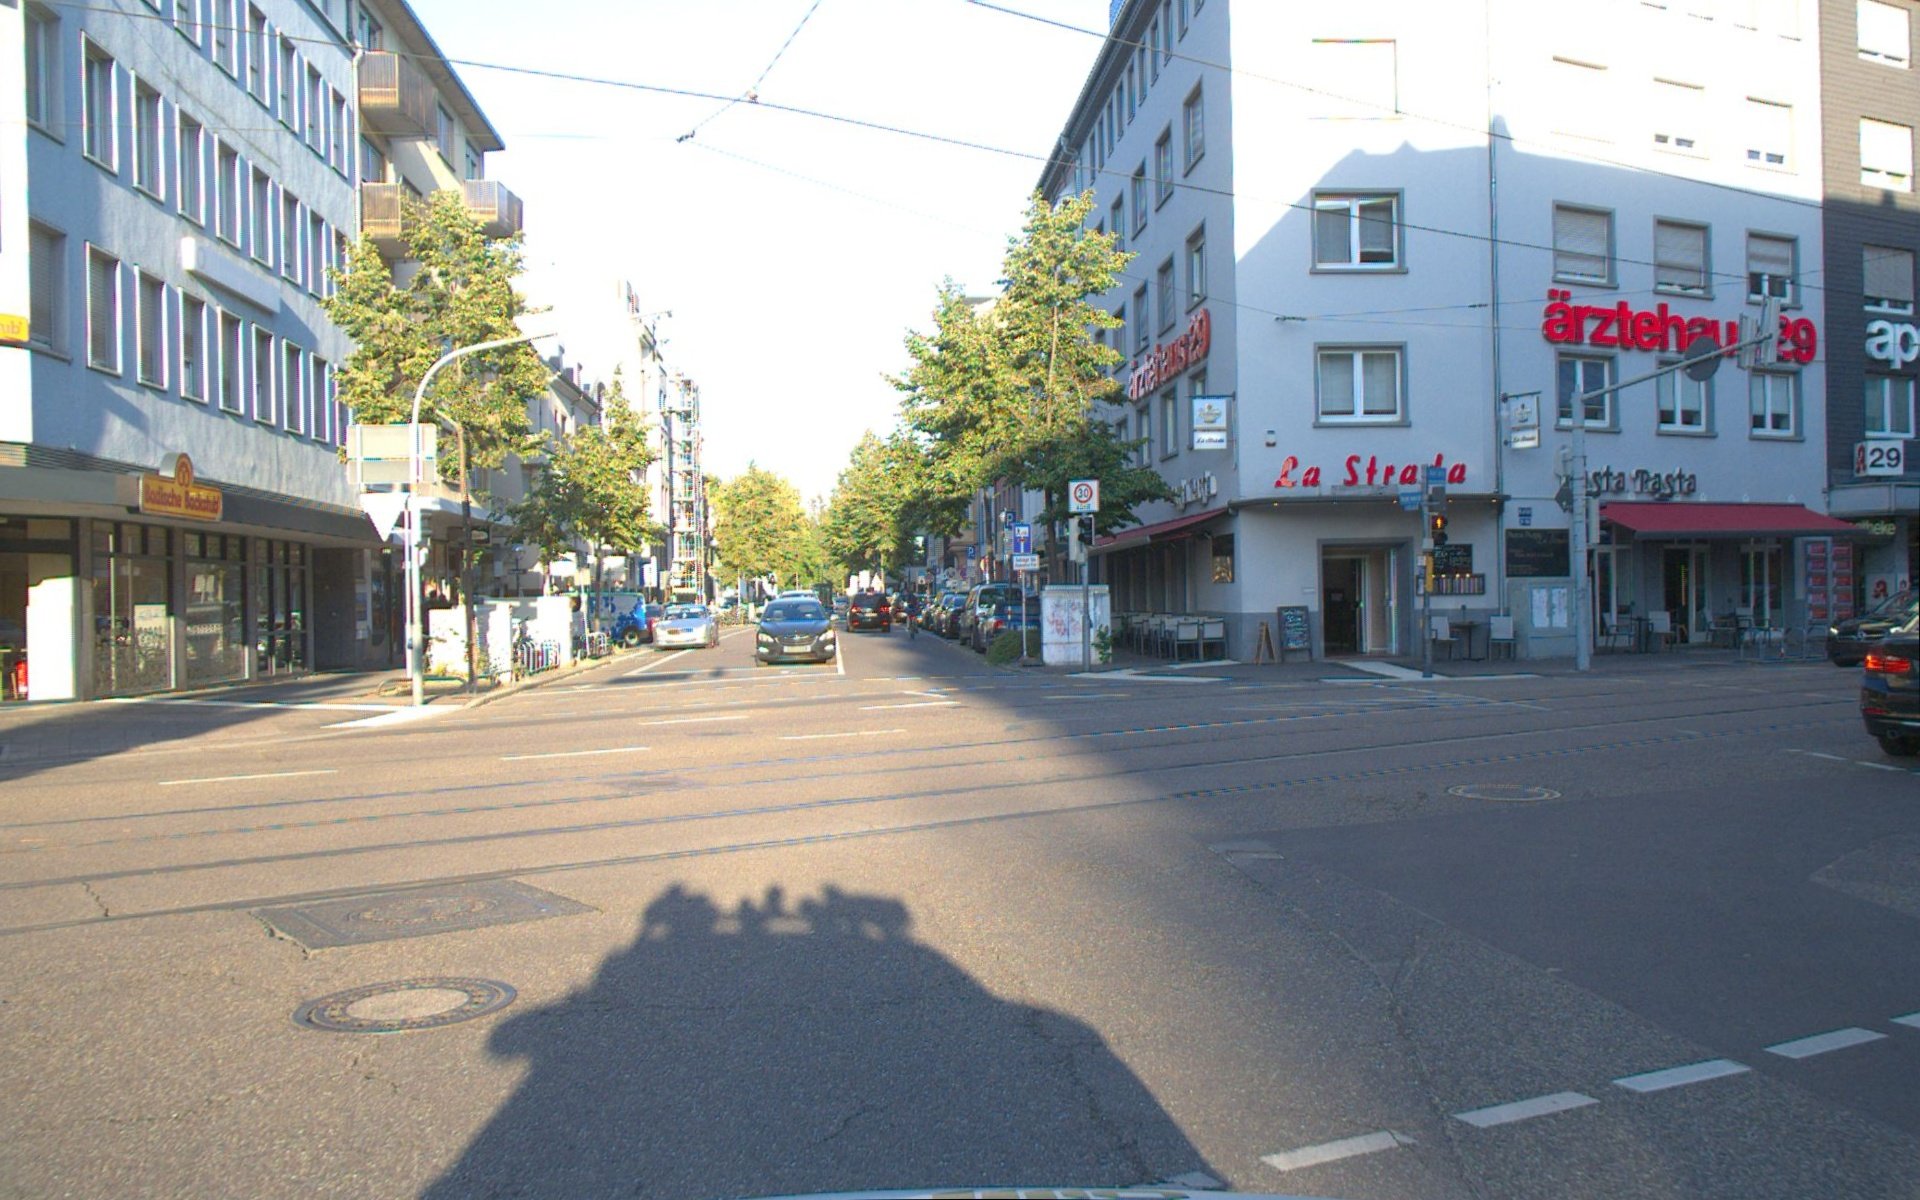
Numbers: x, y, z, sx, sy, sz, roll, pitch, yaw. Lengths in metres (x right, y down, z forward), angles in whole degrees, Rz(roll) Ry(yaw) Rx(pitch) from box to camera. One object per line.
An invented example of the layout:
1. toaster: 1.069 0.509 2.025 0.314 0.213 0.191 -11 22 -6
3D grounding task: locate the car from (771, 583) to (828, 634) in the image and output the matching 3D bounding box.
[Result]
1. car: -5.718 0.315 58.867 1.903 1.673 4.732 -2 -1 -6

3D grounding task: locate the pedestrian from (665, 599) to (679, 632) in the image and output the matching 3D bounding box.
1. pedestrian: -15.548 0.855 89.197 0.704 1.771 0.736 0 -1 -13

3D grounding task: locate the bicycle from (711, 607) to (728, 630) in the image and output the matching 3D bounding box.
1. bicycle: -14.796 1.154 101.714 0.767 1.397 3.132 0 -1 -13

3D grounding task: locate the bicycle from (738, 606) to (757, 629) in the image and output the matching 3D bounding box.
1. bicycle: -13.119 1.104 102.135 0.830 1.374 3.176 -1 -1 -13

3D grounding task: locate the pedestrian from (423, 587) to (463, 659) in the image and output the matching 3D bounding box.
1. pedestrian: -13.675 0.609 43.760 0.751 1.880 0.743 -1 1 5

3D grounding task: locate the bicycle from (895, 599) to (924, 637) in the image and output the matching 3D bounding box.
1. bicycle: -1.695 0.604 55.397 0.766 1.225 2.017 -2 -1 -7

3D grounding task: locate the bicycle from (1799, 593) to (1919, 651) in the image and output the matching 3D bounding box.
1. bicycle: 19.469 0.483 35.848 0.647 1.214 2.268 1 -1 -33

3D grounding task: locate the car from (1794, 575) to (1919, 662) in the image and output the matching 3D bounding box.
1. car: 17.849 0.304 30.887 4.419 1.495 1.962 -2 -1 -30

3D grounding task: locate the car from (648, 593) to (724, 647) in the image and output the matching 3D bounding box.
1. car: -8.756 0.658 53.143 1.955 1.538 4.505 -4 -1 -5

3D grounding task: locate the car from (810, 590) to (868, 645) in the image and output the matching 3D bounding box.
1. car: -3.763 0.556 51.527 1.690 1.576 4.461 -2 -1 -4

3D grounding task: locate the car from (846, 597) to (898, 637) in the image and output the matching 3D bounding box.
1. car: -3.638 0.716 68.916 1.953 1.630 4.508 0 -1 -1

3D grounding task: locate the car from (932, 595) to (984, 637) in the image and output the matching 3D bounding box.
1. car: -0.123 0.622 63.657 1.775 1.554 4.990 0 -1 -3

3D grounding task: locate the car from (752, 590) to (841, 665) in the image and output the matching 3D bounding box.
1. car: -3.827 0.587 38.407 1.921 1.574 4.503 -1 1 -7

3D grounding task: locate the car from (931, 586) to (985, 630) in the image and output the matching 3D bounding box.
1. car: -0.120 0.354 69.732 1.847 1.785 5.052 0 -1 -5

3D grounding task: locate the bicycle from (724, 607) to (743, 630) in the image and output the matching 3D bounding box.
1. bicycle: -13.977 1.143 101.924 0.877 1.420 3.155 -1 -1 -13

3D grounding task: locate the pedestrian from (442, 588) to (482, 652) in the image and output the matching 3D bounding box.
1. pedestrian: -13.503 0.534 44.805 0.755 1.705 0.740 -1 -1 38

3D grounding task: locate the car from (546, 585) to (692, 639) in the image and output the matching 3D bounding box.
1. car: -12.282 0.462 59.729 4.823 1.860 1.976 1 -1 -35

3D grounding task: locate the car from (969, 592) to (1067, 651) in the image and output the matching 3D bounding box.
1. car: 1.403 0.519 41.828 1.900 1.400 4.177 0 0 -6

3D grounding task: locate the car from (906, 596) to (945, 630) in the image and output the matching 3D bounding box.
1. car: -1.788 0.688 84.904 1.776 1.697 4.202 0 -1 -4

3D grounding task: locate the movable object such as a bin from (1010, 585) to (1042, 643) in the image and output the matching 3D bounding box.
1. movable object such as a bin: 2.090 0.449 52.248 0.819 1.805 1.203 0 -1 -8

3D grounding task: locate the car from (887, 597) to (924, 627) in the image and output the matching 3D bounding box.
1. car: -3.281 0.714 98.186 1.790 1.725 4.361 0 -1 -8

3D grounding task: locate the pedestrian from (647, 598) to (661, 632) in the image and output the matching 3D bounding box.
1. pedestrian: -16.485 0.809 89.042 0.704 1.798 0.692 0 -1 -13

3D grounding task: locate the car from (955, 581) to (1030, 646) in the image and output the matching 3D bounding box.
1. car: 0.908 0.360 48.249 1.623 1.809 4.005 0 0 -8

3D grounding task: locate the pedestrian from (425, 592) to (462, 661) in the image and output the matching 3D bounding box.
1. pedestrian: -14.195 0.719 45.443 0.726 1.850 0.813 -1 0 -3

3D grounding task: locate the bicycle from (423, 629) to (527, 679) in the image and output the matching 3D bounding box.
1. bicycle: -9.814 1.090 33.516 1.972 1.009 0.490 0 -1 -9

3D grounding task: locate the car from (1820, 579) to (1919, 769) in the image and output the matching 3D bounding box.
1. car: 9.256 0.523 13.942 4.466 1.444 1.972 -2 0 -39

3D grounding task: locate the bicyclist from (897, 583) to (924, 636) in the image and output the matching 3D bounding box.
1. bicyclist: -1.653 0.325 55.319 0.766 1.726 1.005 -2 -1 -7

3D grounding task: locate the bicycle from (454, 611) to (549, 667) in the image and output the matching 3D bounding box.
1. bicycle: -10.249 0.865 37.007 1.970 1.240 0.491 0 -1 -5

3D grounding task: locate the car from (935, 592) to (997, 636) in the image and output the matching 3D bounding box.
1. car: 0.182 0.445 57.008 1.719 1.445 4.504 0 0 -5
